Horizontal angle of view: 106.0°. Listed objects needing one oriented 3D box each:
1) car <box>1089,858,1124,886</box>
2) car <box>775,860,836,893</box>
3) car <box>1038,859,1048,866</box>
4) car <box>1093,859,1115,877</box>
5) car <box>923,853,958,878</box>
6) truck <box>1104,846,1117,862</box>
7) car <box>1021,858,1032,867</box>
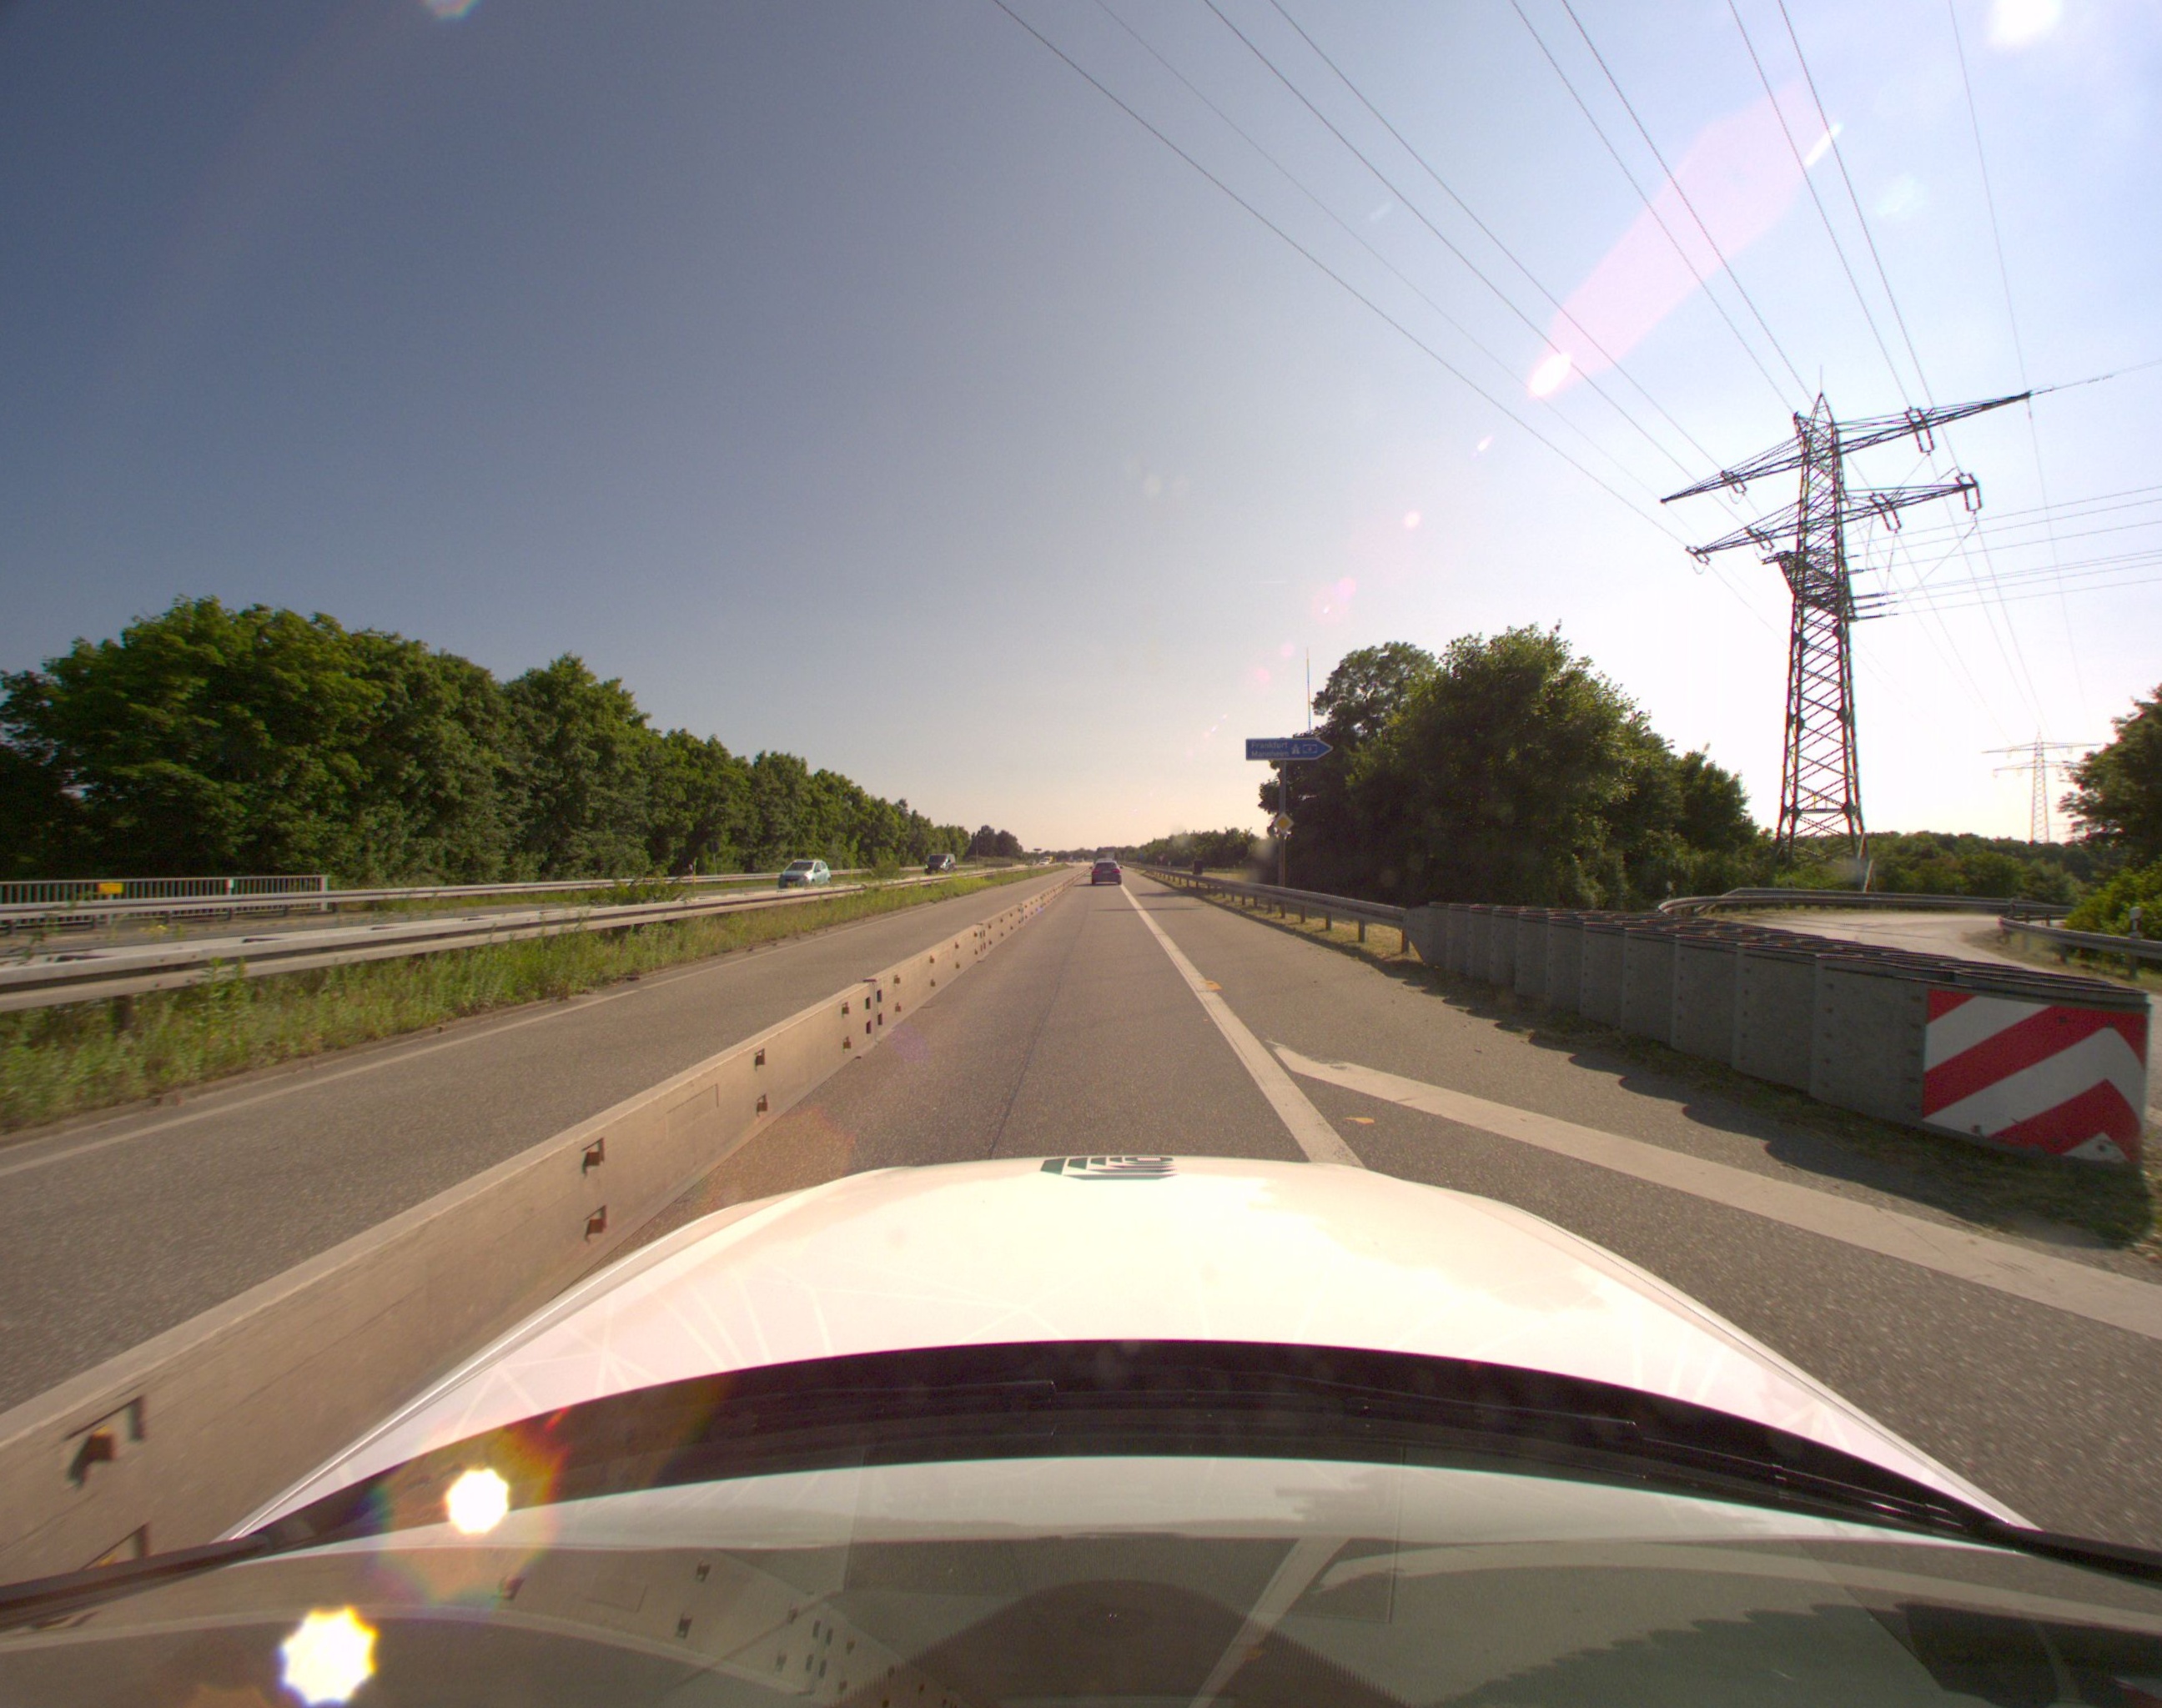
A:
[{"bbox_3d":[1.476,1.053,48.843,1.914,1.494,4.000,-2,0,0],"label":"car"},{"bbox_3d":[-13.615,1.081,40.459,1.641,1.531,3.819,0,0,1],"label":"car"},{"bbox_3d":[-7.843,1.780,167.747,1.754,1.470,4.794,1,0,1],"label":"car"},{"bbox_3d":[2.150,1.276,77.102,1.986,1.567,4.002,-2,0,2],"label":"car"},{"bbox_3d":[-12.203,0.993,70.872,1.986,2.034,5.170,-1,0,2],"label":"car"},{"bbox_3d":[9.418,0.102,259.472,3.748,4.911,14.137,0,0,1],"label":"truck"},{"bbox_3d":[-10.239,1.578,152.920,1.732,1.494,4.110,0,0,1],"label":"car"}]
